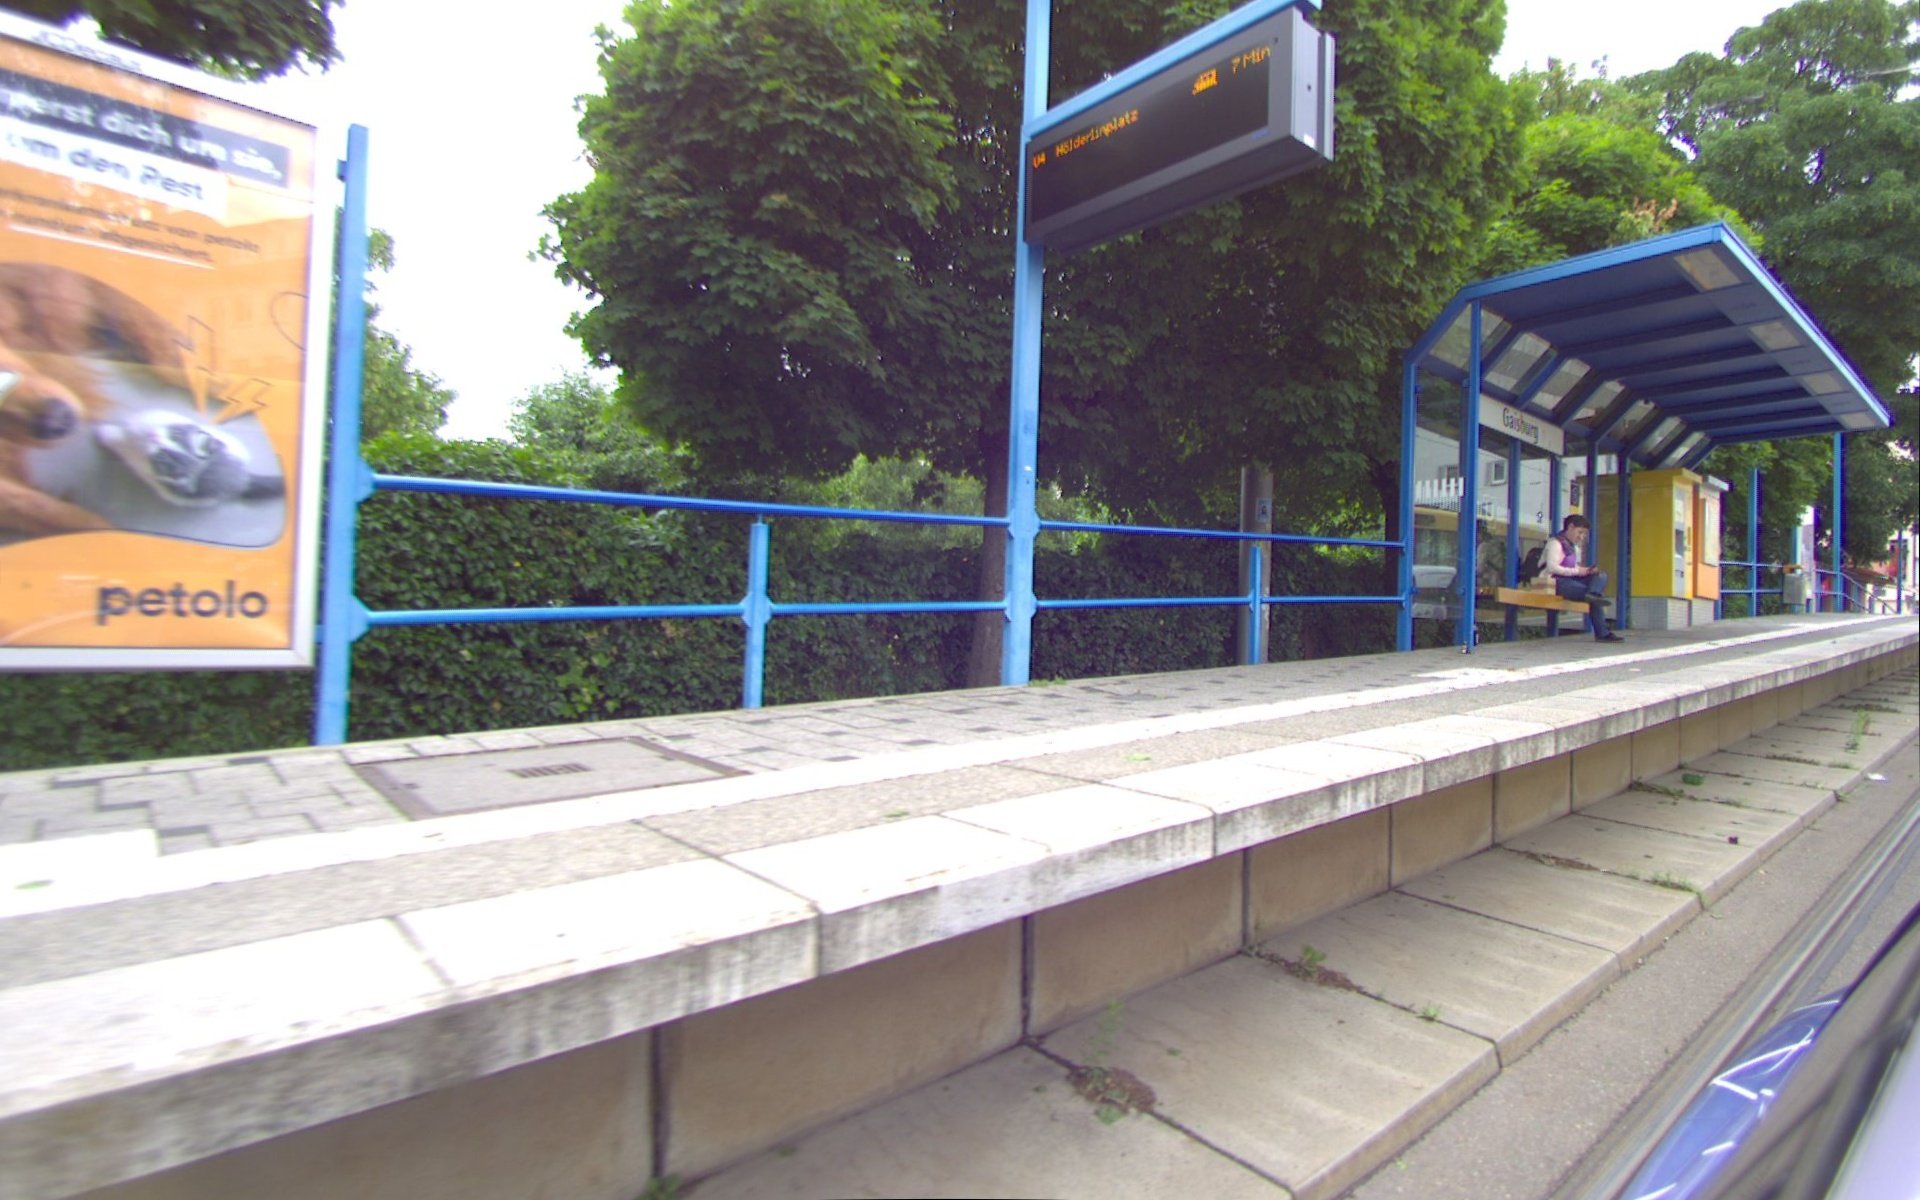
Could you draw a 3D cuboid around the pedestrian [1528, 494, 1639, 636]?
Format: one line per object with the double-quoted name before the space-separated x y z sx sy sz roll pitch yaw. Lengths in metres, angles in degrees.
"pedestrian" 6.183 -0.334 10.043 0.645 1.331 0.780 0 0 -40
